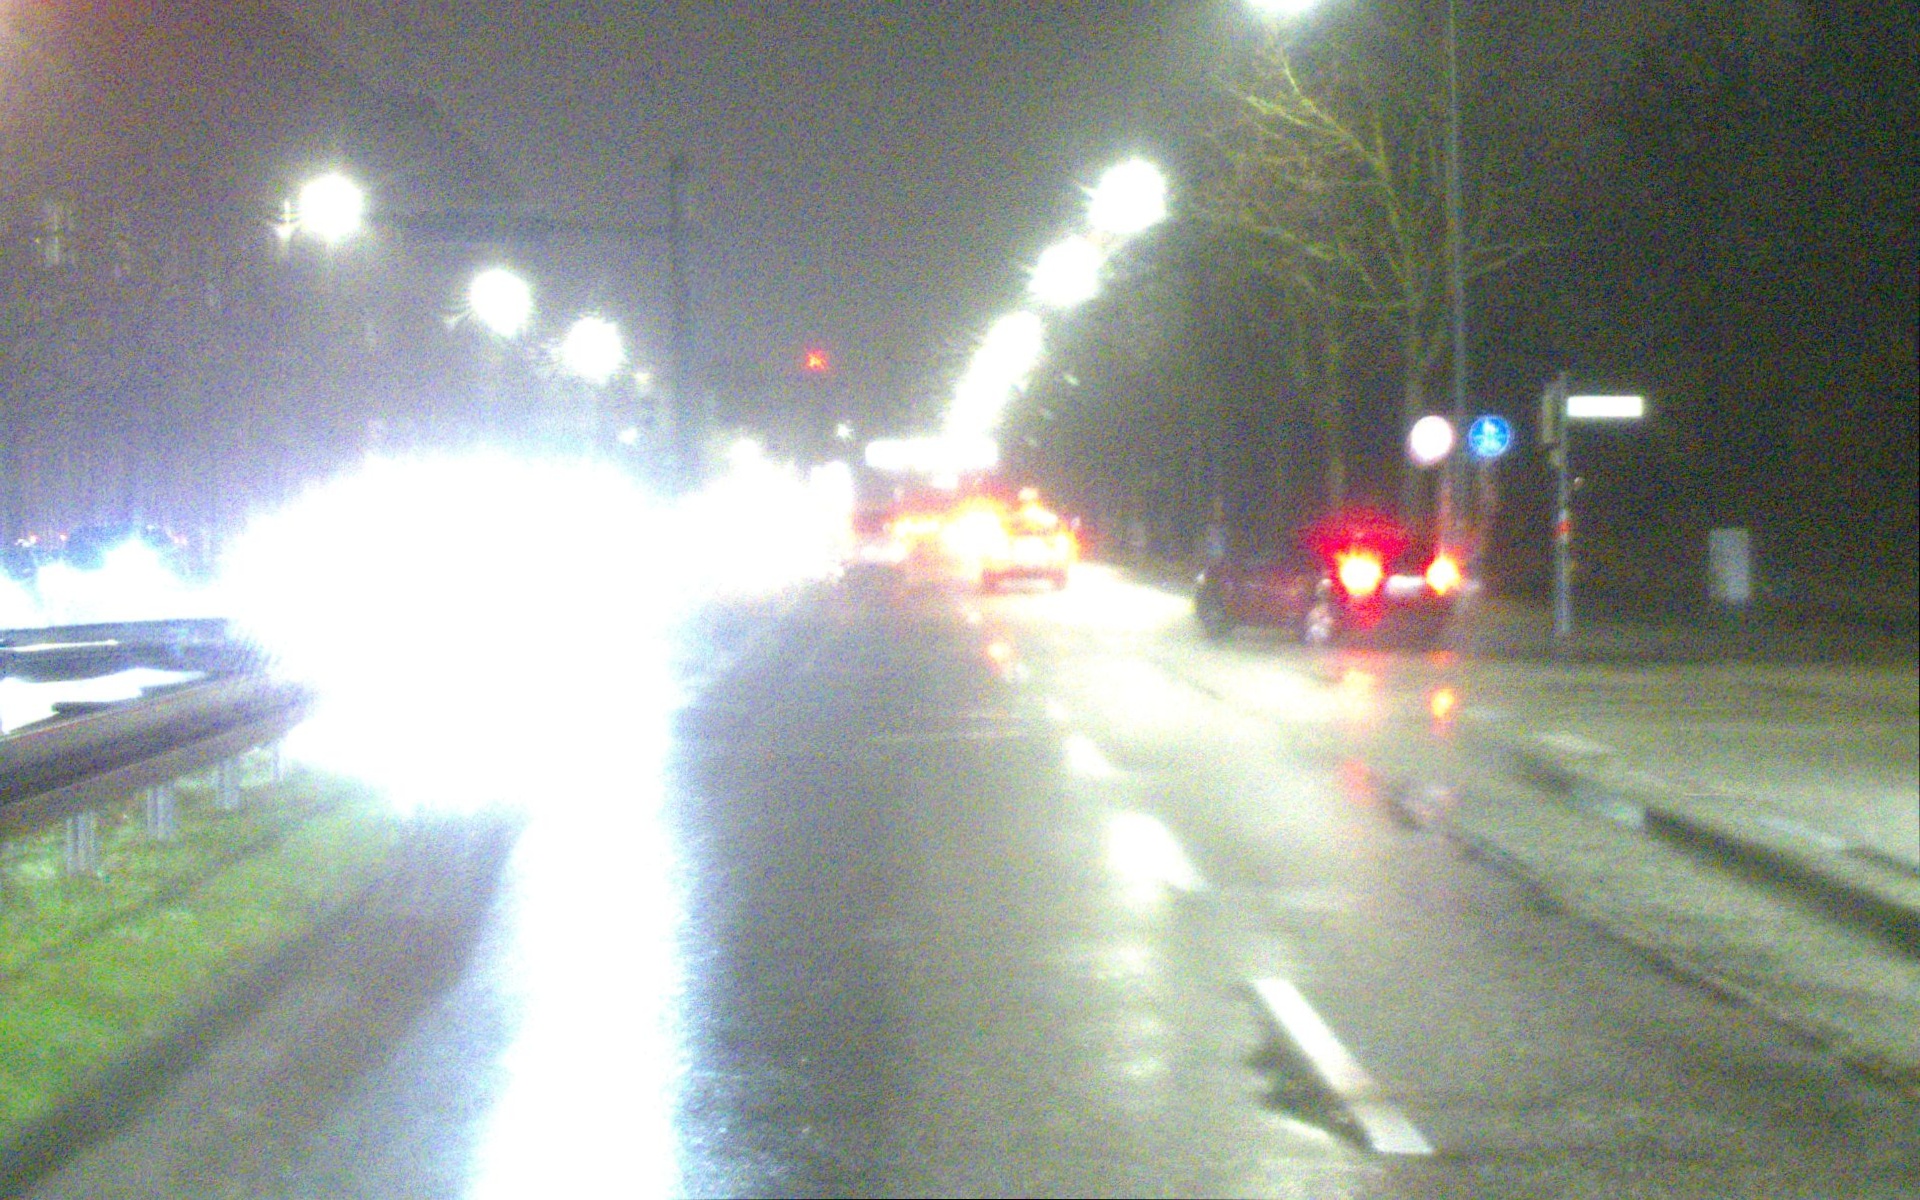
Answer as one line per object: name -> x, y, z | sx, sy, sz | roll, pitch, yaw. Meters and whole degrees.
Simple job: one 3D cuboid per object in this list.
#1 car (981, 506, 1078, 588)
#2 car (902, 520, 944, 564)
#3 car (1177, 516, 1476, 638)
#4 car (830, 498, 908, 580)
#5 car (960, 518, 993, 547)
car -> 1.464, -1.130, 73.791 | 1.790, 1.673, 4.429 | 1, 1, -3
car -> -1.668, -2.568, 153.196 | 1.791, 1.868, 4.627 | 1, 1, -1
car -> 4.651, -0.312, 44.203 | 1.790, 1.482, 4.154 | 1, 1, -28
car -> -2.163, -1.432, 82.039 | 1.791, 1.868, 4.627 | 1, 1, -1
car -> 1.041, -4.330, 220.877 | 1.993, 1.753, 4.000 | 1, 1, -1
